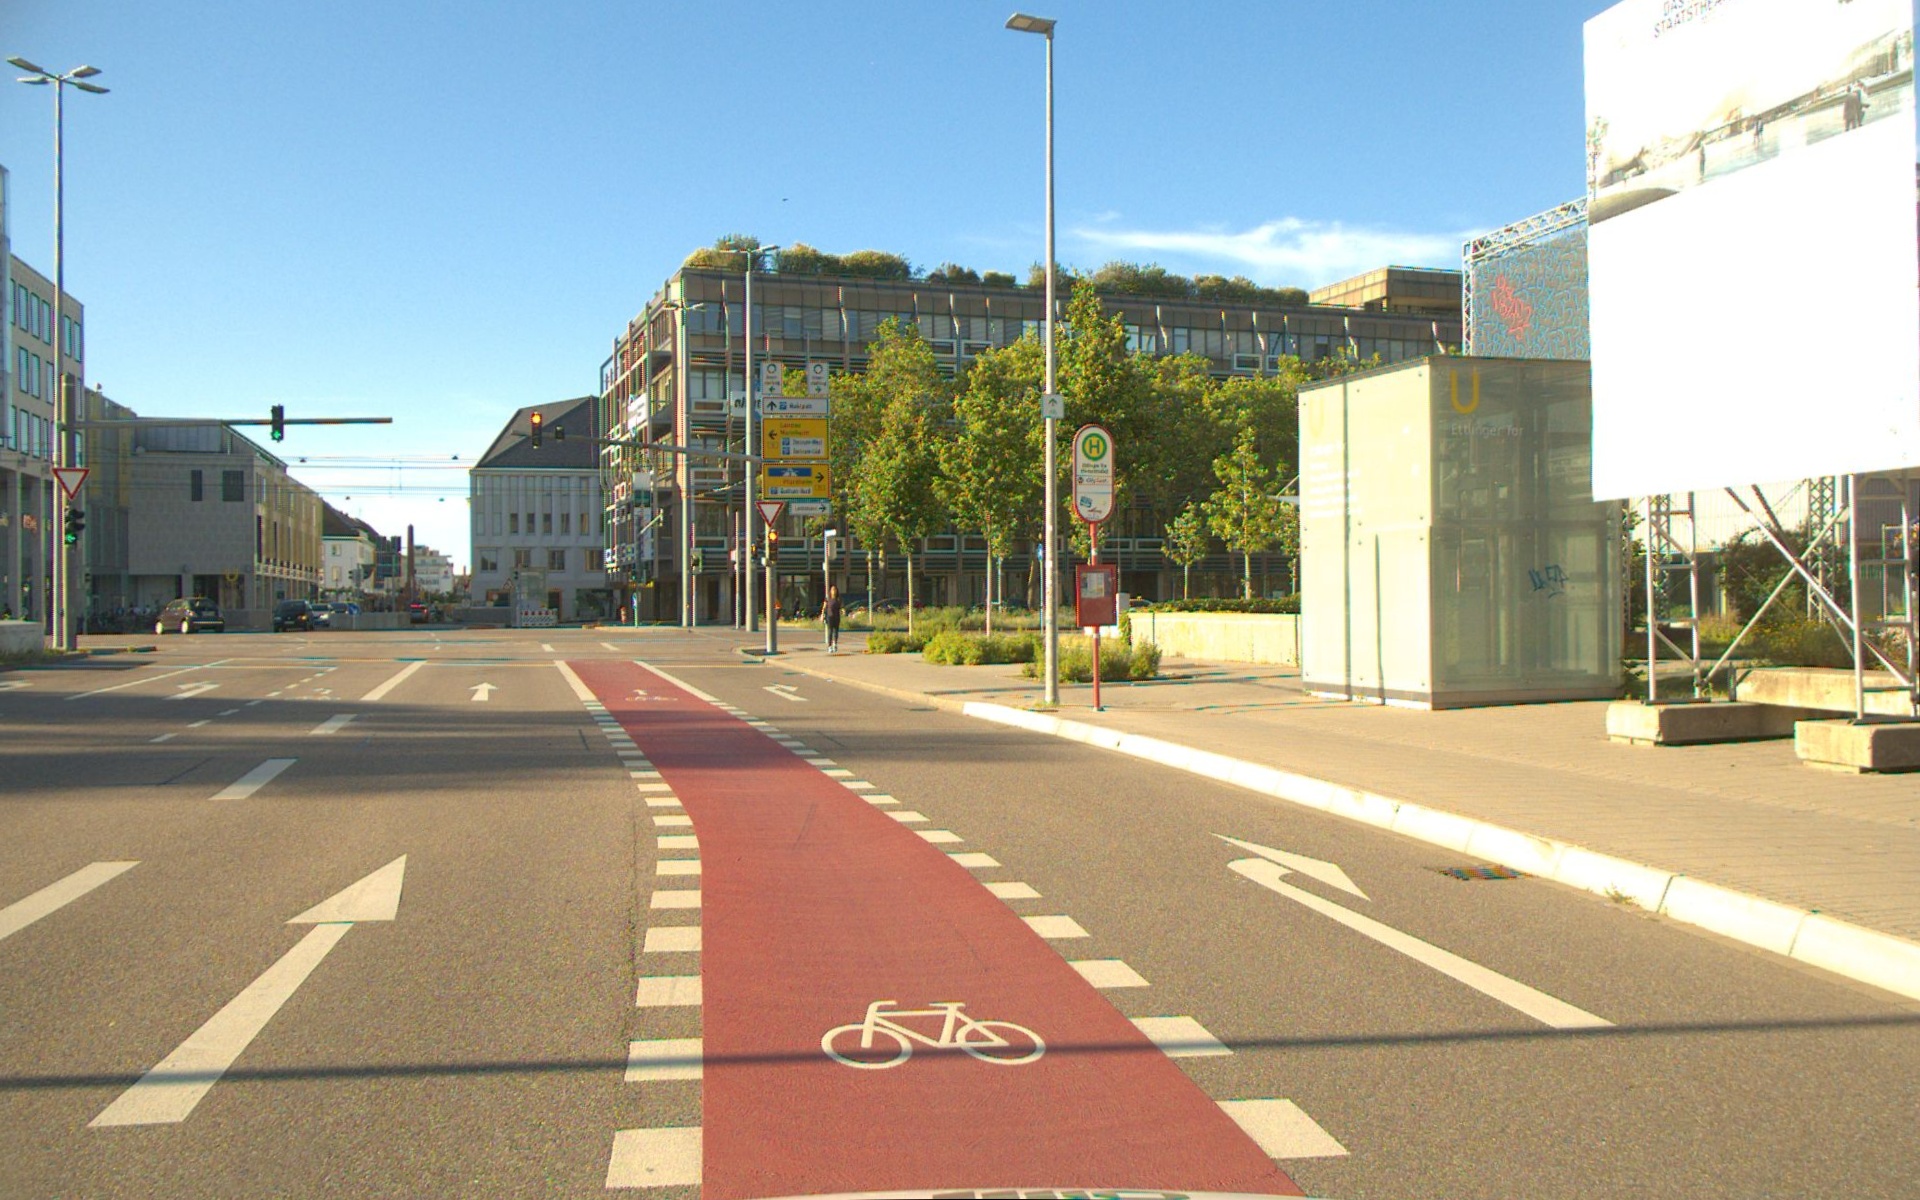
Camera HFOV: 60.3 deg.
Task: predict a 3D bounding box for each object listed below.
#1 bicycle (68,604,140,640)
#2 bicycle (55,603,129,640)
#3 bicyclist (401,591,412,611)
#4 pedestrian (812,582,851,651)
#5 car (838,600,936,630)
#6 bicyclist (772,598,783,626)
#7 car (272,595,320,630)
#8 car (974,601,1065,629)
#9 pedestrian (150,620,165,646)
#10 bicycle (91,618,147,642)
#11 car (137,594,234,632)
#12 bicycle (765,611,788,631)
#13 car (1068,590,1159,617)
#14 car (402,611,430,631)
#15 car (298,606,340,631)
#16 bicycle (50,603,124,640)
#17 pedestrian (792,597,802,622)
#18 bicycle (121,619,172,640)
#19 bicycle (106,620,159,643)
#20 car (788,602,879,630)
[{"bbox_3d":[-49.753,1.273,96.153,3.566,2.049,1.080,-1,0,-19],"label":"bicycle"},{"bbox_3d":[-49.660,1.233,94.670,3.566,2.049,1.080,-1,0,-19],"label":"bicycle"},{"bbox_3d":[-41.038,0.062,122.593,0.734,1.486,0.763,0,0,-18],"label":"bicyclist"},{"bbox_3d":[-3.404,0.437,43.896,0.804,1.779,1.042,-2,0,7],"label":"pedestrian"},{"bbox_3d":[-3.625,0.739,82.138,4.560,1.380,1.990,0,1,-19],"label":"car"},{"bbox_3d":[-9.012,0.575,81.667,0.499,1.362,0.451,-1,0,-12],"label":"bicyclist"},{"bbox_3d":[-37.001,0.680,92.267,1.961,1.773,4.627,0,1,-15],"label":"car"},{"bbox_3d":[3.209,0.808,89.506,4.560,1.380,1.990,0,1,-19],"label":"car"},{"bbox_3d":[-50.951,2.073,105.015,0.738,1.636,0.615,0,0,-42],"label":"pedestrian"},{"bbox_3d":[-53.147,1.875,104.514,3.005,1.425,0.897,-1,0,-19],"label":"bicycle"},{"bbox_3d":[-32.828,0.548,70.120,3.701,1.591,1.781,0,0,25],"label":"car"},{"bbox_3d":[-9.058,1.020,81.648,1.058,0.988,0.456,-1,0,-13],"label":"bicycle"},{"bbox_3d":[8.436,0.193,90.950,4.560,1.380,1.990,0,1,-19],"label":"car"},{"bbox_3d":[-44.552,1.673,135.347,1.965,1.579,3.975,-1,0,-21],"label":"car"},{"bbox_3d":[-40.491,1.153,104.597,1.960,1.380,4.628,0,1,-15],"label":"car"},{"bbox_3d":[-49.280,1.198,93.393,3.571,2.049,1.079,-1,0,-23],"label":"bicycle"},{"bbox_3d":[-9.910,0.582,100.394,0.611,1.545,0.652,-1,0,-6],"label":"pedestrian"},{"bbox_3d":[-56.264,2.042,114.424,3.005,1.425,0.897,-1,0,-19],"label":"bicycle"},{"bbox_3d":[-54.401,2.071,108.739,3.005,1.425,0.897,-1,0,-19],"label":"bicycle"},{"bbox_3d":[-6.820,0.835,89.151,4.560,1.380,1.990,0,1,-19],"label":"car"}]
